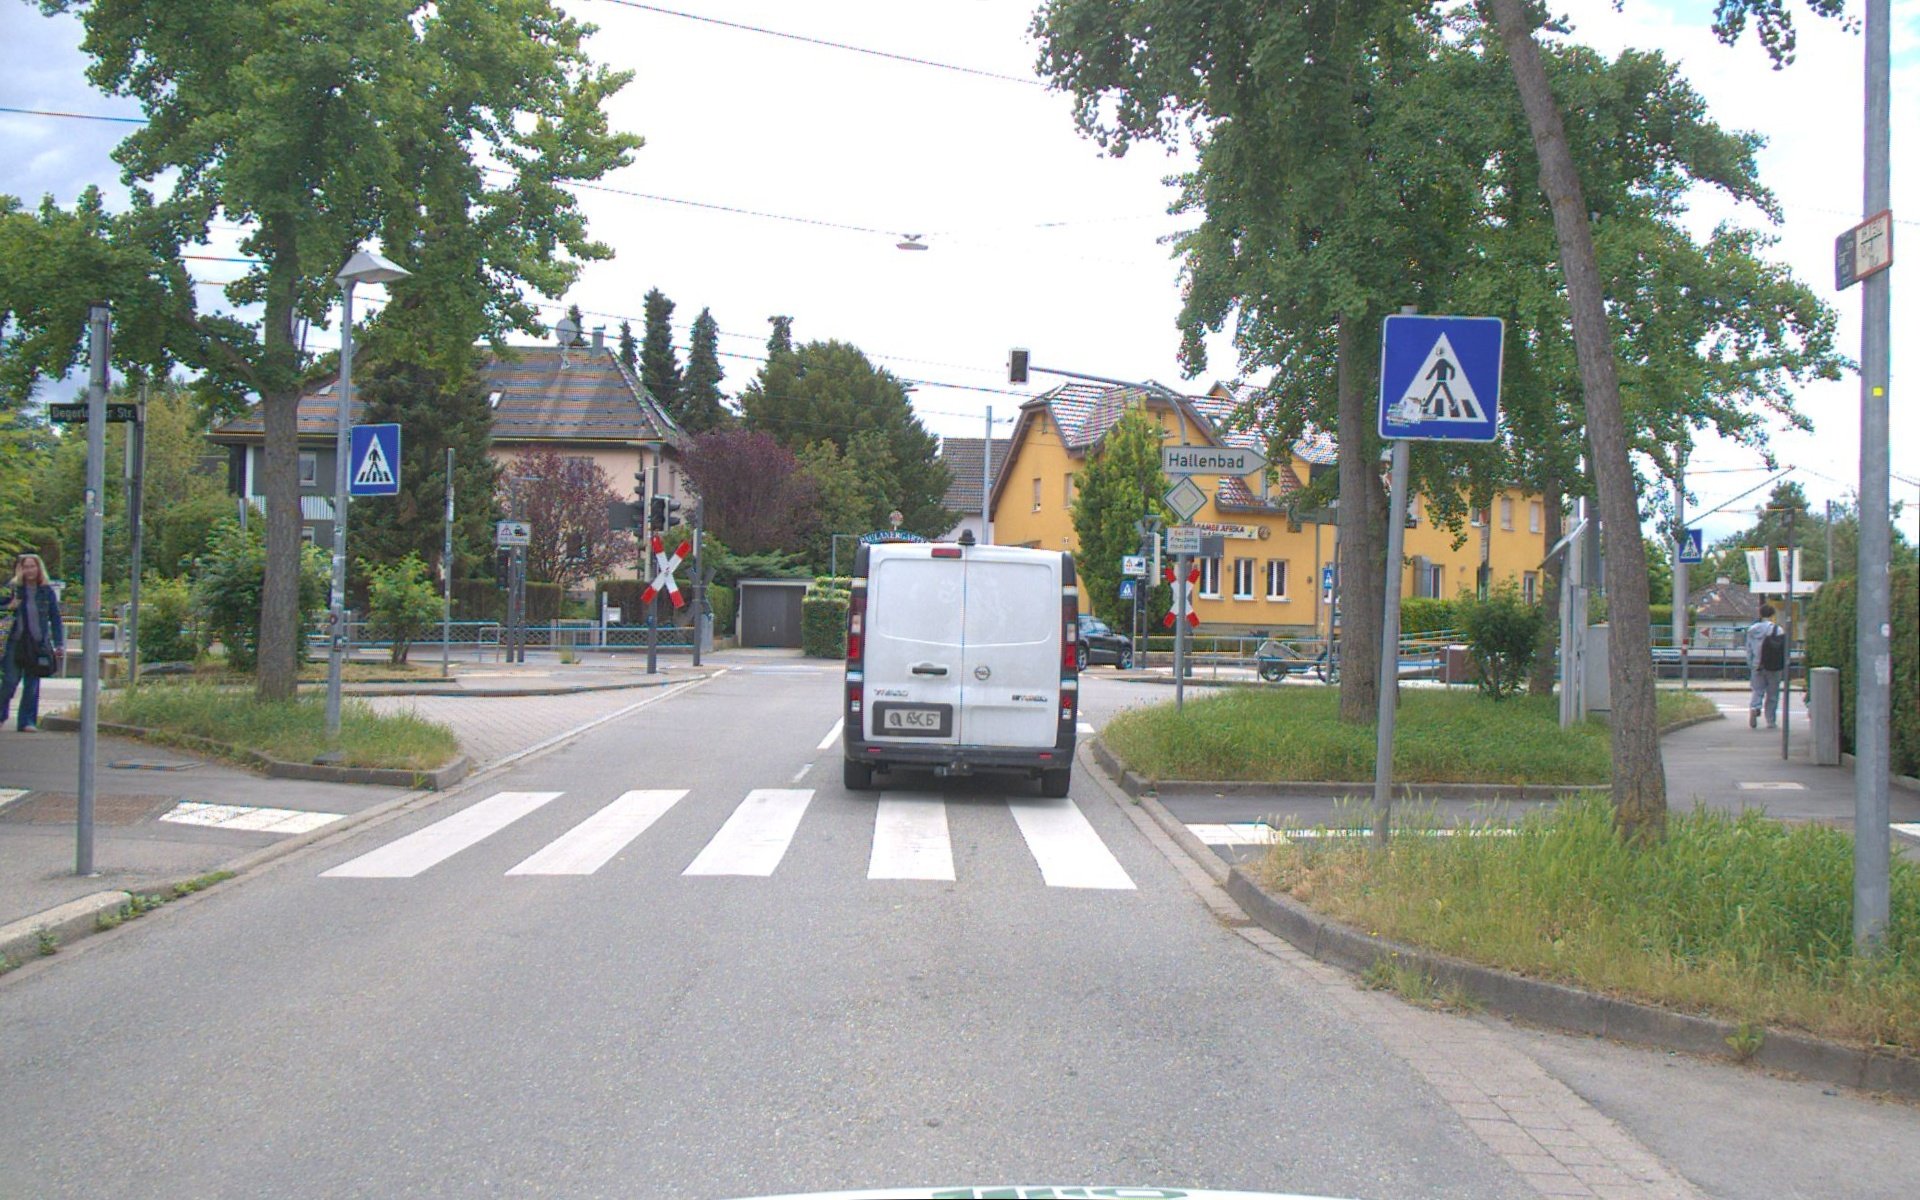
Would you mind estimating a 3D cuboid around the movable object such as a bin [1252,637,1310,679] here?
[{"bbox_3d":[6.727,1.219,34.665,1.070,0.839,0.579,2,-1,-6],"label":"movable object such as a bin"}]

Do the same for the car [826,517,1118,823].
[{"bbox_3d":[-0.027,0.530,14.827,2.074,2.171,5.437,2,0,-3],"label":"car"}]

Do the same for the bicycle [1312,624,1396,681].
[{"bbox_3d":[8.285,1.101,34.757,1.655,1.176,0.465,1,-1,-9],"label":"bicycle"}]

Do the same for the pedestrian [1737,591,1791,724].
[{"bbox_3d":[12.070,0.852,24.828,0.613,1.948,0.828,0,-1,35],"label":"pedestrian"}]

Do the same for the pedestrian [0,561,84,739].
[{"bbox_3d":[-8.919,0.468,15.805,0.585,1.648,0.676,3,-1,30],"label":"pedestrian"}]

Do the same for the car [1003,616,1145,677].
[{"bbox_3d":[3.378,1.373,48.334,2.313,1.591,4.360,2,-1,32],"label":"car"}]
